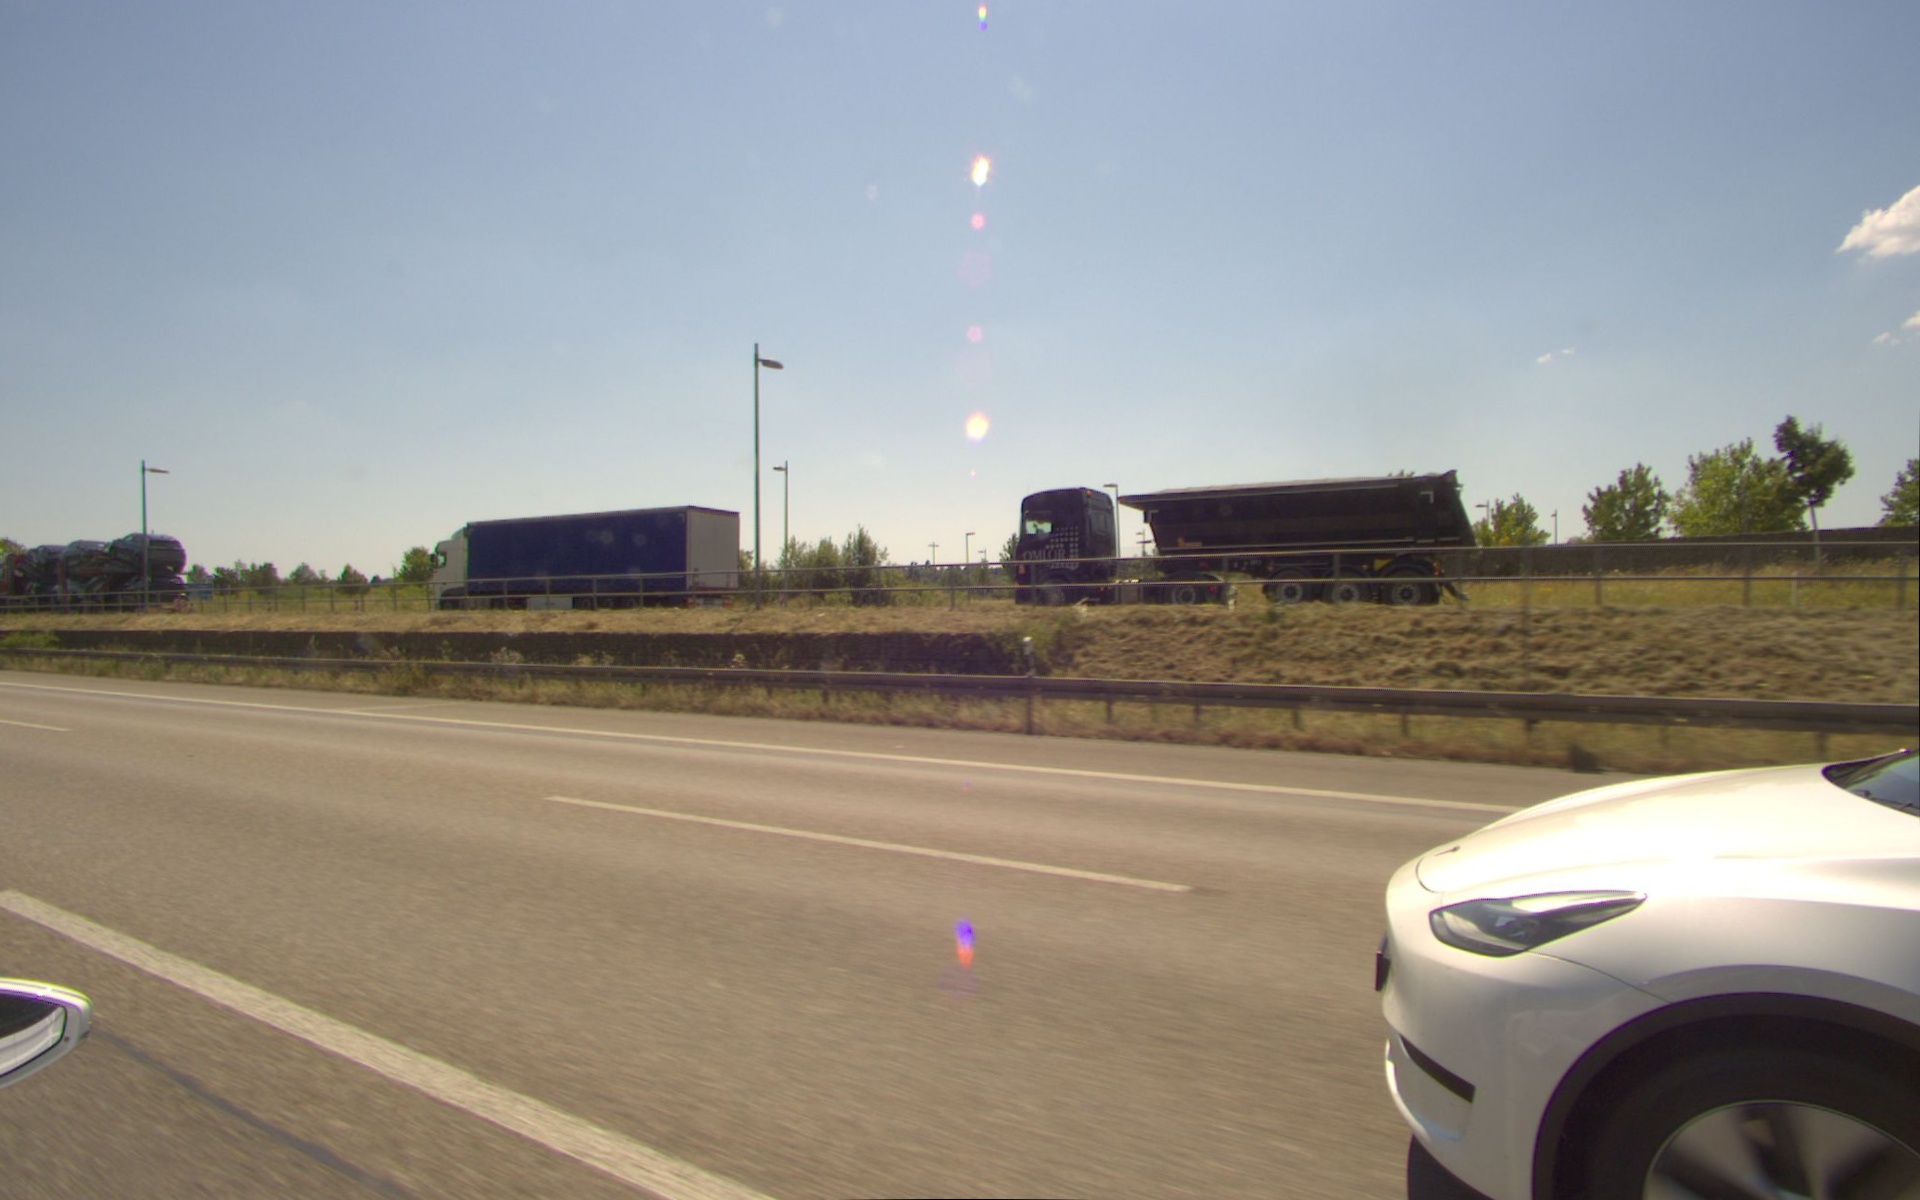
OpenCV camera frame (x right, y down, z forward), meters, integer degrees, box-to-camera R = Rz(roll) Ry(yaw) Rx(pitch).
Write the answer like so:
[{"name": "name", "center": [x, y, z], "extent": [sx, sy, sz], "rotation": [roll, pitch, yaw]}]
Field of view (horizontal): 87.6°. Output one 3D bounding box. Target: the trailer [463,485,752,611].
[{"name": "trailer", "center": [-14.469, -1.765, 40.069], "extent": [14.058, 4.135, 3.046], "rotation": [-1, -2, 33]}]

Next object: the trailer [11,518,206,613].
[{"name": "trailer", "center": [-46.116, -1.572, 53.793], "extent": [18.158, 4.312, 2.601], "rotation": [-1, -2, 32]}]

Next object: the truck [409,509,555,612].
[{"name": "truck", "center": [-21.298, -1.605, 44.555], "extent": [6.308, 4.135, 3.047], "rotation": [-1, -2, 33]}]

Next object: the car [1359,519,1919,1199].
[{"name": "car", "center": [3.734, 0.688, 1.603], "extent": [5.519, 1.657, 1.948], "rotation": [-1, -2, 32]}]

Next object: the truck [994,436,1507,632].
[{"name": "truck", "center": [7.162, -1.243, 26.116], "extent": [12.337, 4.135, 3.783], "rotation": [-1, -2, 31]}]

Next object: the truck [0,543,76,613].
[{"name": "truck", "center": [-54.747, -1.226, 59.235], "extent": [3.943, 3.876, 2.598], "rotation": [-1, -2, 32]}]
